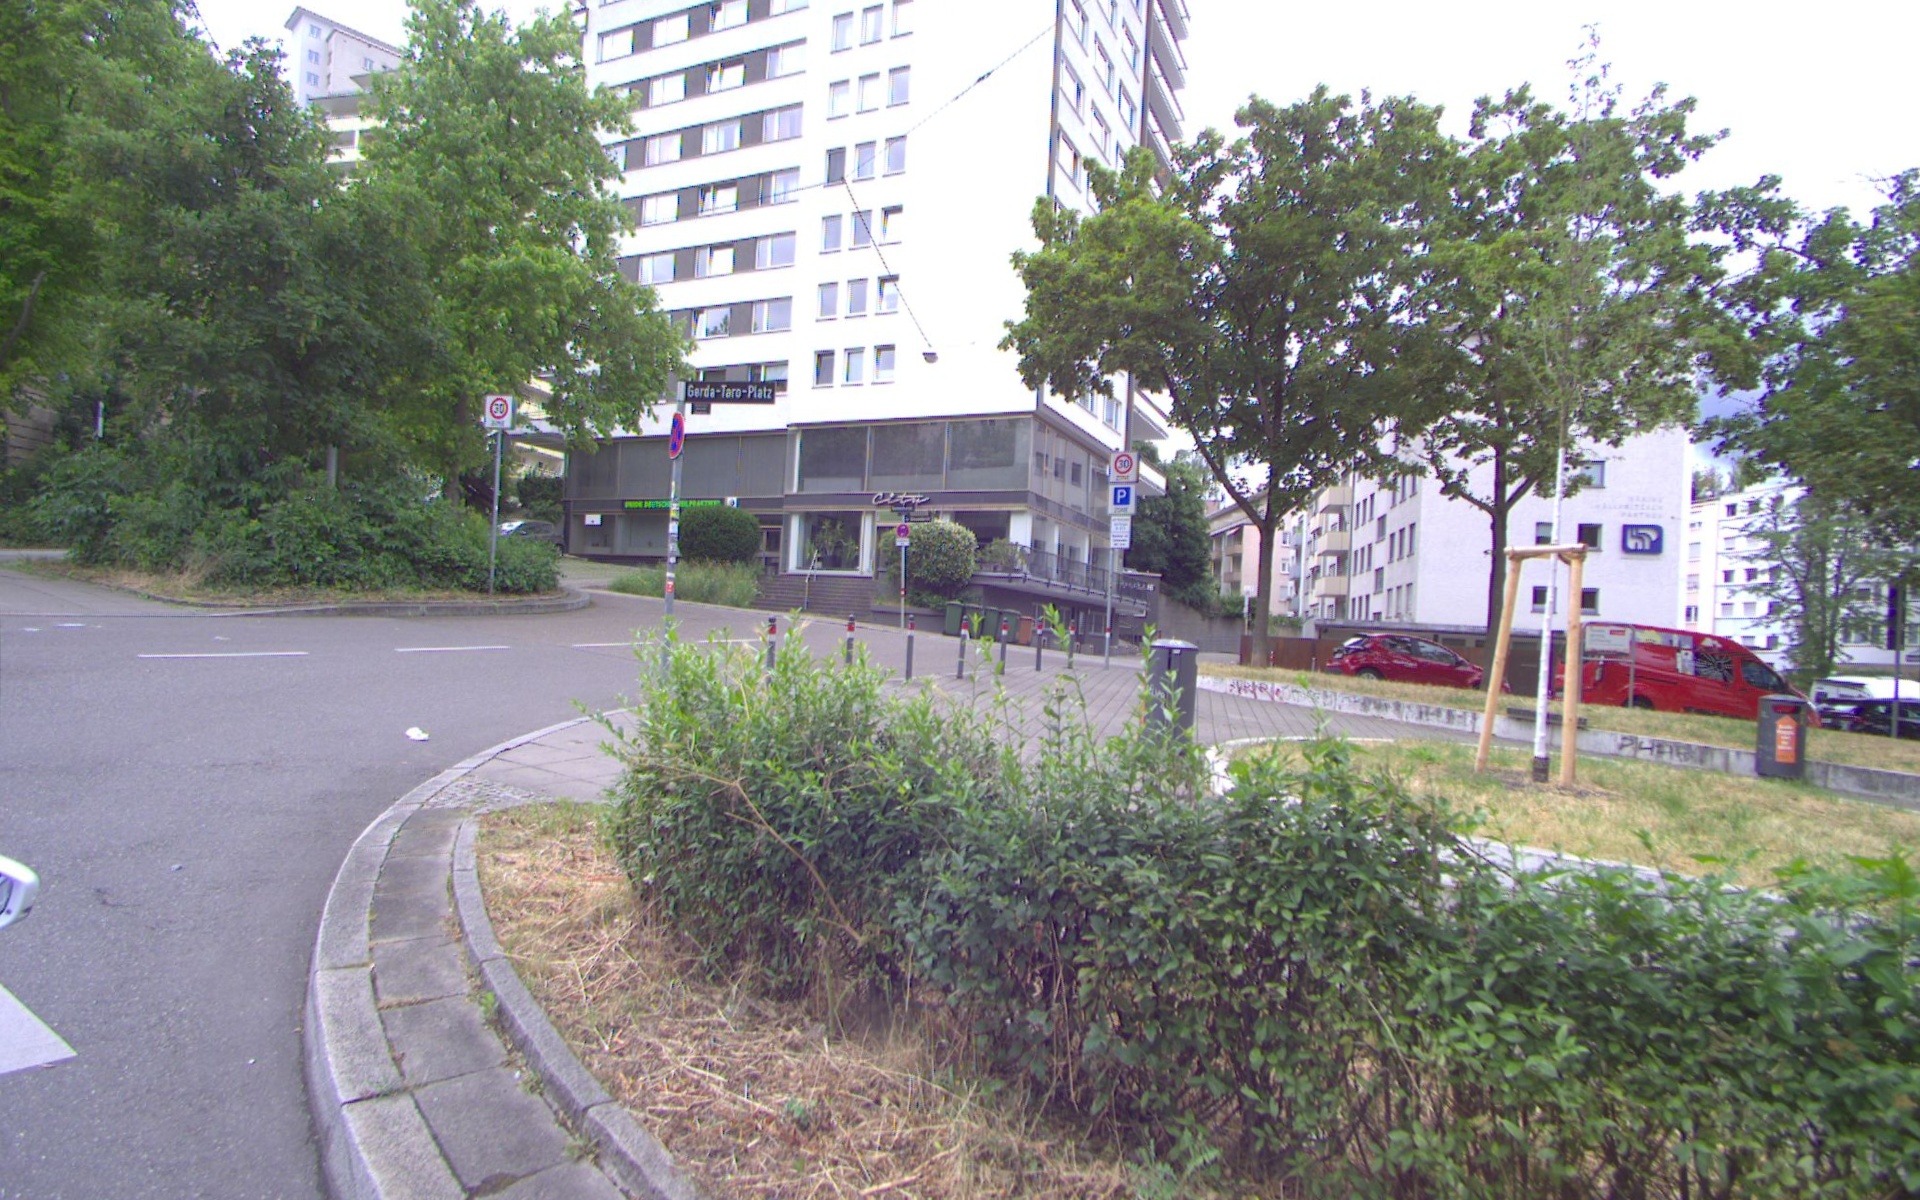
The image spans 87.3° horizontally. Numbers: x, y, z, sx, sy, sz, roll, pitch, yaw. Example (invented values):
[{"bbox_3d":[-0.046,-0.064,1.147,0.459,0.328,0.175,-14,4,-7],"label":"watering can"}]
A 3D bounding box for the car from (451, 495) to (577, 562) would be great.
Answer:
[{"bbox_3d":[-17.436,-2.745,39.522,1.964,2.039,4.139,6,0,24],"label":"car"}]

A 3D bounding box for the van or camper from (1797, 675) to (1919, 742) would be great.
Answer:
[{"bbox_3d":[35.353,4.220,39.087,2.257,2.255,5.451,5,-4,16],"label":"van or camper"}]

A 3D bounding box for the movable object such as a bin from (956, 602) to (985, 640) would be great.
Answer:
[{"bbox_3d":[0.331,0.654,31.692,0.700,1.118,0.824,6,1,8],"label":"movable object such as a bin"}]

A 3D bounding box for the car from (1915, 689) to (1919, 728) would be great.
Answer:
[{"bbox_3d":[46.089,5.071,46.182,1.589,1.822,3.673,5,-4,15],"label":"car"}]

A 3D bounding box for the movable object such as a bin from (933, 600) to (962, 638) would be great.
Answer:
[{"bbox_3d":[-0.385,0.589,31.686,0.700,1.118,0.824,6,1,8],"label":"movable object such as a bin"}]

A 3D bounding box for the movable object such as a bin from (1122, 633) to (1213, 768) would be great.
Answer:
[{"bbox_3d":[1.866,0.889,9.041,0.556,1.108,0.494,7,1,31],"label":"movable object such as a bin"}]

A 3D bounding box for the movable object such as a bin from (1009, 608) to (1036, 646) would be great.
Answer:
[{"bbox_3d":[1.983,0.856,31.958,0.668,1.118,0.824,6,1,8],"label":"movable object such as a bin"}]

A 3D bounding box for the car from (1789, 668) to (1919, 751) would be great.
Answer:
[{"bbox_3d":[21.208,2.532,22.287,4.071,1.524,1.756,7,-3,3],"label":"car"}]

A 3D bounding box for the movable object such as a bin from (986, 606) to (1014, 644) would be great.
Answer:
[{"bbox_3d":[1.282,0.805,32.125,0.700,1.118,0.824,6,1,8],"label":"movable object such as a bin"}]

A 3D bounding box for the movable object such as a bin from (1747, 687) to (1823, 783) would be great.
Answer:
[{"bbox_3d":[10.258,1.672,12.525,0.599,1.094,0.670,4,-4,32],"label":"movable object such as a bin"}]

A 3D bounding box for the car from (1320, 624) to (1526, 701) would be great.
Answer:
[{"bbox_3d":[10.426,1.422,22.842,3.848,1.293,1.623,6,-4,4],"label":"car"}]

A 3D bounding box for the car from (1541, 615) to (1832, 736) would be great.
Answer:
[{"bbox_3d":[16.210,1.692,22.680,4.888,2.050,2.033,6,-3,4],"label":"car"}]
